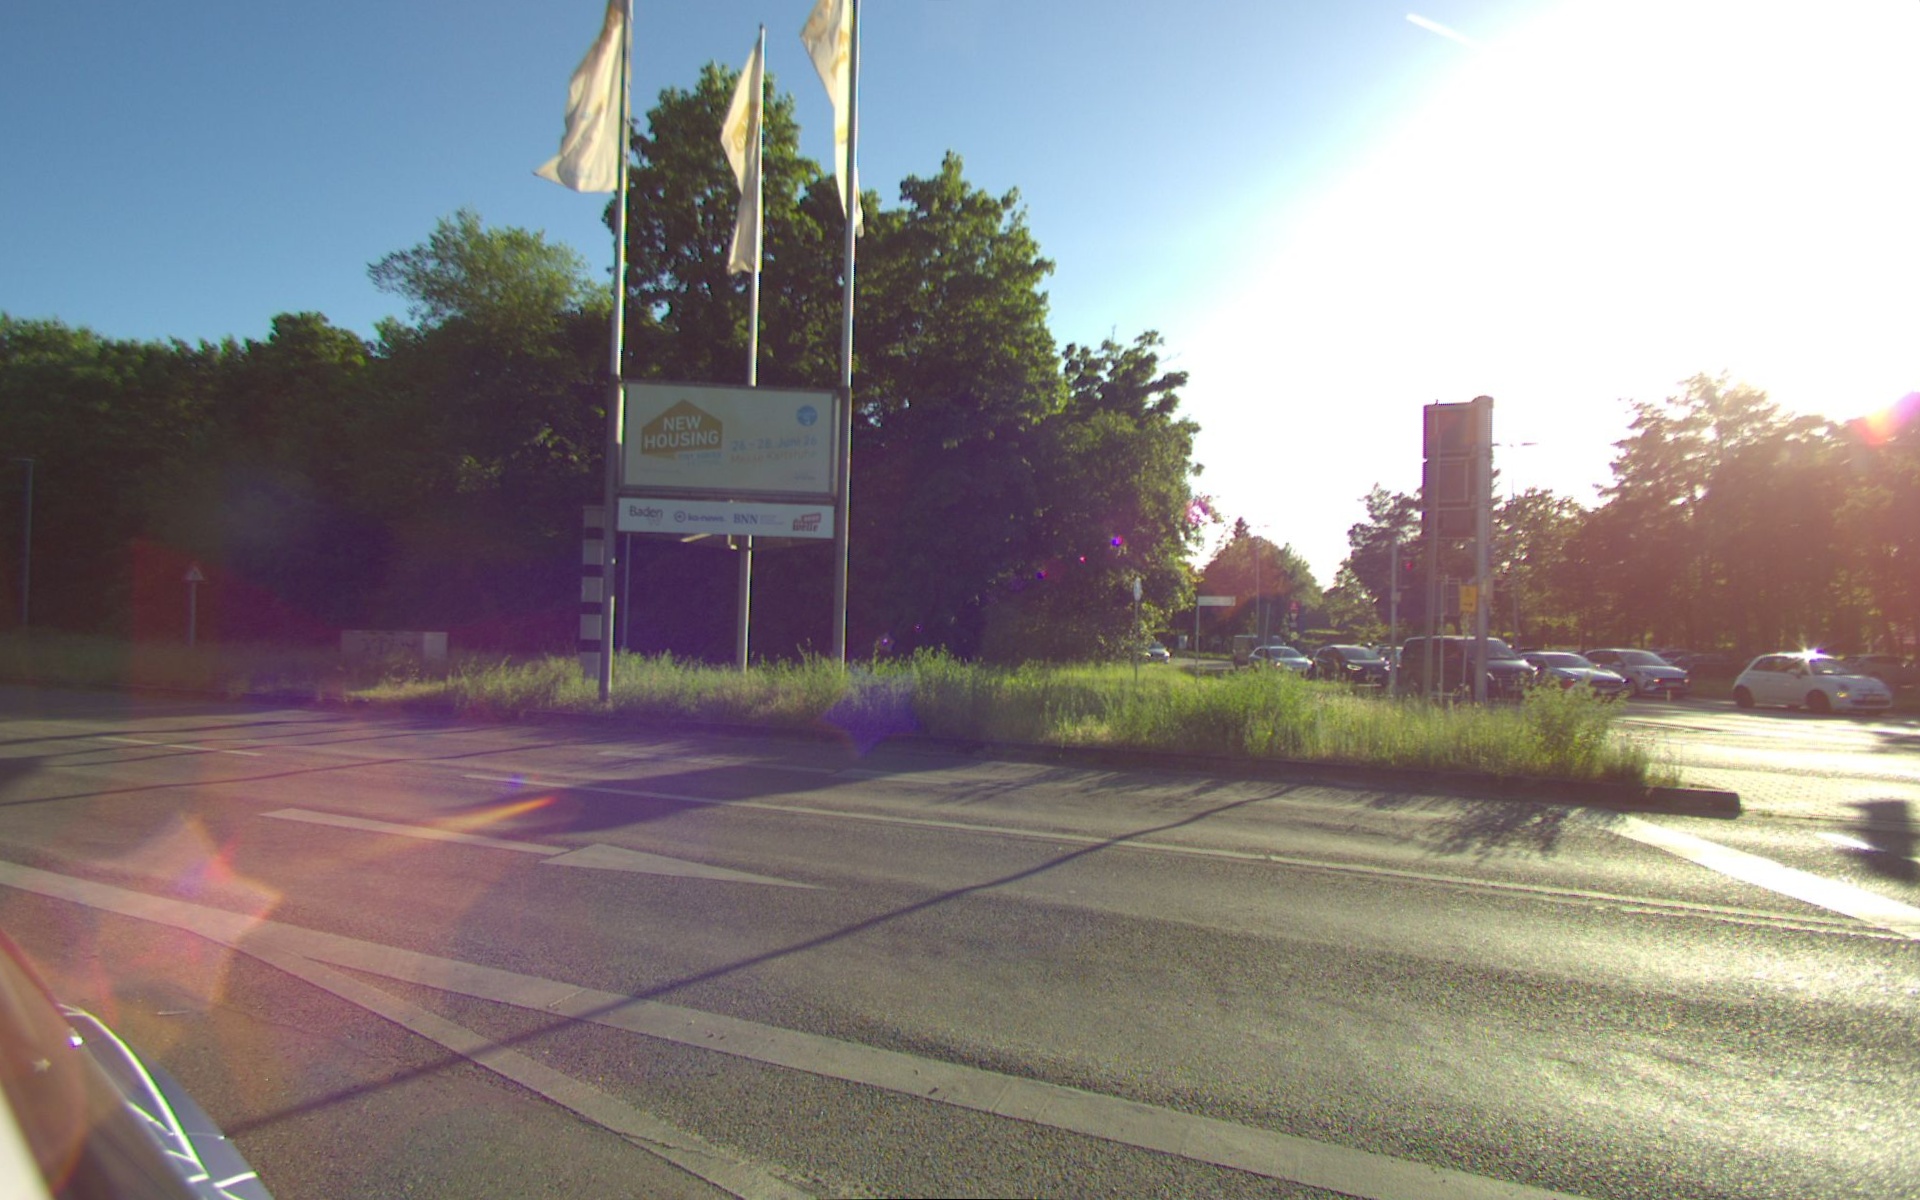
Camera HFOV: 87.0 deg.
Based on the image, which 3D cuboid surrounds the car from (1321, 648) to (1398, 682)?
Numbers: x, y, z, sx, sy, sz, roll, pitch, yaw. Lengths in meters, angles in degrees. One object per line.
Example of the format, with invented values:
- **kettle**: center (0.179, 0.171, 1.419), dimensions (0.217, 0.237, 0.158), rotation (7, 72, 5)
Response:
- **car**: center (17.836, 2.876, 45.343), dimensions (1.827, 1.400, 3.800), rotation (1, -2, -1)

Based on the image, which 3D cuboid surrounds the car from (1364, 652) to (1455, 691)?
- **car**: center (17.822, 2.813, 40.334), dimensions (1.827, 1.400, 3.800), rotation (1, -2, -1)

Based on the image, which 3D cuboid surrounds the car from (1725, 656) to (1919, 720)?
- **car**: center (21.861, 2.172, 25.688), dimensions (1.901, 1.400, 3.800), rotation (1, -2, -1)

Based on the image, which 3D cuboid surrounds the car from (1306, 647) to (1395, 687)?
- **car**: center (14.756, 2.504, 38.448), dimensions (1.827, 1.400, 3.800), rotation (1, -2, -1)

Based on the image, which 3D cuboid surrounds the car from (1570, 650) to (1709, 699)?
- **car**: center (21.678, 2.352, 32.492), dimensions (1.827, 1.400, 3.800), rotation (1, -2, -1)

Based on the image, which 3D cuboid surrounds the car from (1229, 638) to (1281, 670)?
- **car**: center (17.175, 3.139, 59.170), dimensions (1.827, 1.773, 3.800), rotation (1, -2, -1)

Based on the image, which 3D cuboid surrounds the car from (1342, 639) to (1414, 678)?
- **car**: center (20.189, 2.817, 49.023), dimensions (1.827, 1.773, 3.800), rotation (1, -2, -1)

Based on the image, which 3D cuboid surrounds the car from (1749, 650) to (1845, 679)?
- **car**: center (49.701, 3.820, 60.164), dimensions (3.929, 1.612, 1.807), rotation (0, -2, 12)

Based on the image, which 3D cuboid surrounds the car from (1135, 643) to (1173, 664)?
- **car**: center (13.597, 3.720, 71.131), dimensions (1.827, 1.400, 3.800), rotation (1, -2, -1)

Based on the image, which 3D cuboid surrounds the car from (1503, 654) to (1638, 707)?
- **car**: center (18.126, 2.350, 30.248), dimensions (1.624, 1.400, 3.800), rotation (1, -2, -1)

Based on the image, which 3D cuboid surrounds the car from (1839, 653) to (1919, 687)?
- **car**: center (48.330, 3.615, 52.180), dimensions (4.107, 1.612, 1.807), rotation (0, -2, 12)

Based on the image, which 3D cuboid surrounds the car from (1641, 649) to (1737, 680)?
- **car**: center (41.493, 3.679, 57.680), dimensions (3.953, 1.631, 1.938), rotation (1, -2, 8)

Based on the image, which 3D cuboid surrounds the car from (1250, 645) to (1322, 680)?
- **car**: center (14.315, 2.741, 44.632), dimensions (1.827, 1.400, 3.800), rotation (1, -2, -1)

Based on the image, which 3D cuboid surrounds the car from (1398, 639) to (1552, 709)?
- **car**: center (15.016, 2.092, 29.852), dimensions (1.901, 1.844, 4.935), rotation (1, -2, -1)

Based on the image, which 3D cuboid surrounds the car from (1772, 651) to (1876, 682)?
- **car**: center (47.570, 3.652, 55.798), dimensions (3.929, 1.612, 1.807), rotation (0, -2, 12)

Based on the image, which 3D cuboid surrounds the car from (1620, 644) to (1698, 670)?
- **car**: center (47.734, 3.882, 69.212), dimensions (3.929, 1.612, 1.807), rotation (0, -2, 12)
